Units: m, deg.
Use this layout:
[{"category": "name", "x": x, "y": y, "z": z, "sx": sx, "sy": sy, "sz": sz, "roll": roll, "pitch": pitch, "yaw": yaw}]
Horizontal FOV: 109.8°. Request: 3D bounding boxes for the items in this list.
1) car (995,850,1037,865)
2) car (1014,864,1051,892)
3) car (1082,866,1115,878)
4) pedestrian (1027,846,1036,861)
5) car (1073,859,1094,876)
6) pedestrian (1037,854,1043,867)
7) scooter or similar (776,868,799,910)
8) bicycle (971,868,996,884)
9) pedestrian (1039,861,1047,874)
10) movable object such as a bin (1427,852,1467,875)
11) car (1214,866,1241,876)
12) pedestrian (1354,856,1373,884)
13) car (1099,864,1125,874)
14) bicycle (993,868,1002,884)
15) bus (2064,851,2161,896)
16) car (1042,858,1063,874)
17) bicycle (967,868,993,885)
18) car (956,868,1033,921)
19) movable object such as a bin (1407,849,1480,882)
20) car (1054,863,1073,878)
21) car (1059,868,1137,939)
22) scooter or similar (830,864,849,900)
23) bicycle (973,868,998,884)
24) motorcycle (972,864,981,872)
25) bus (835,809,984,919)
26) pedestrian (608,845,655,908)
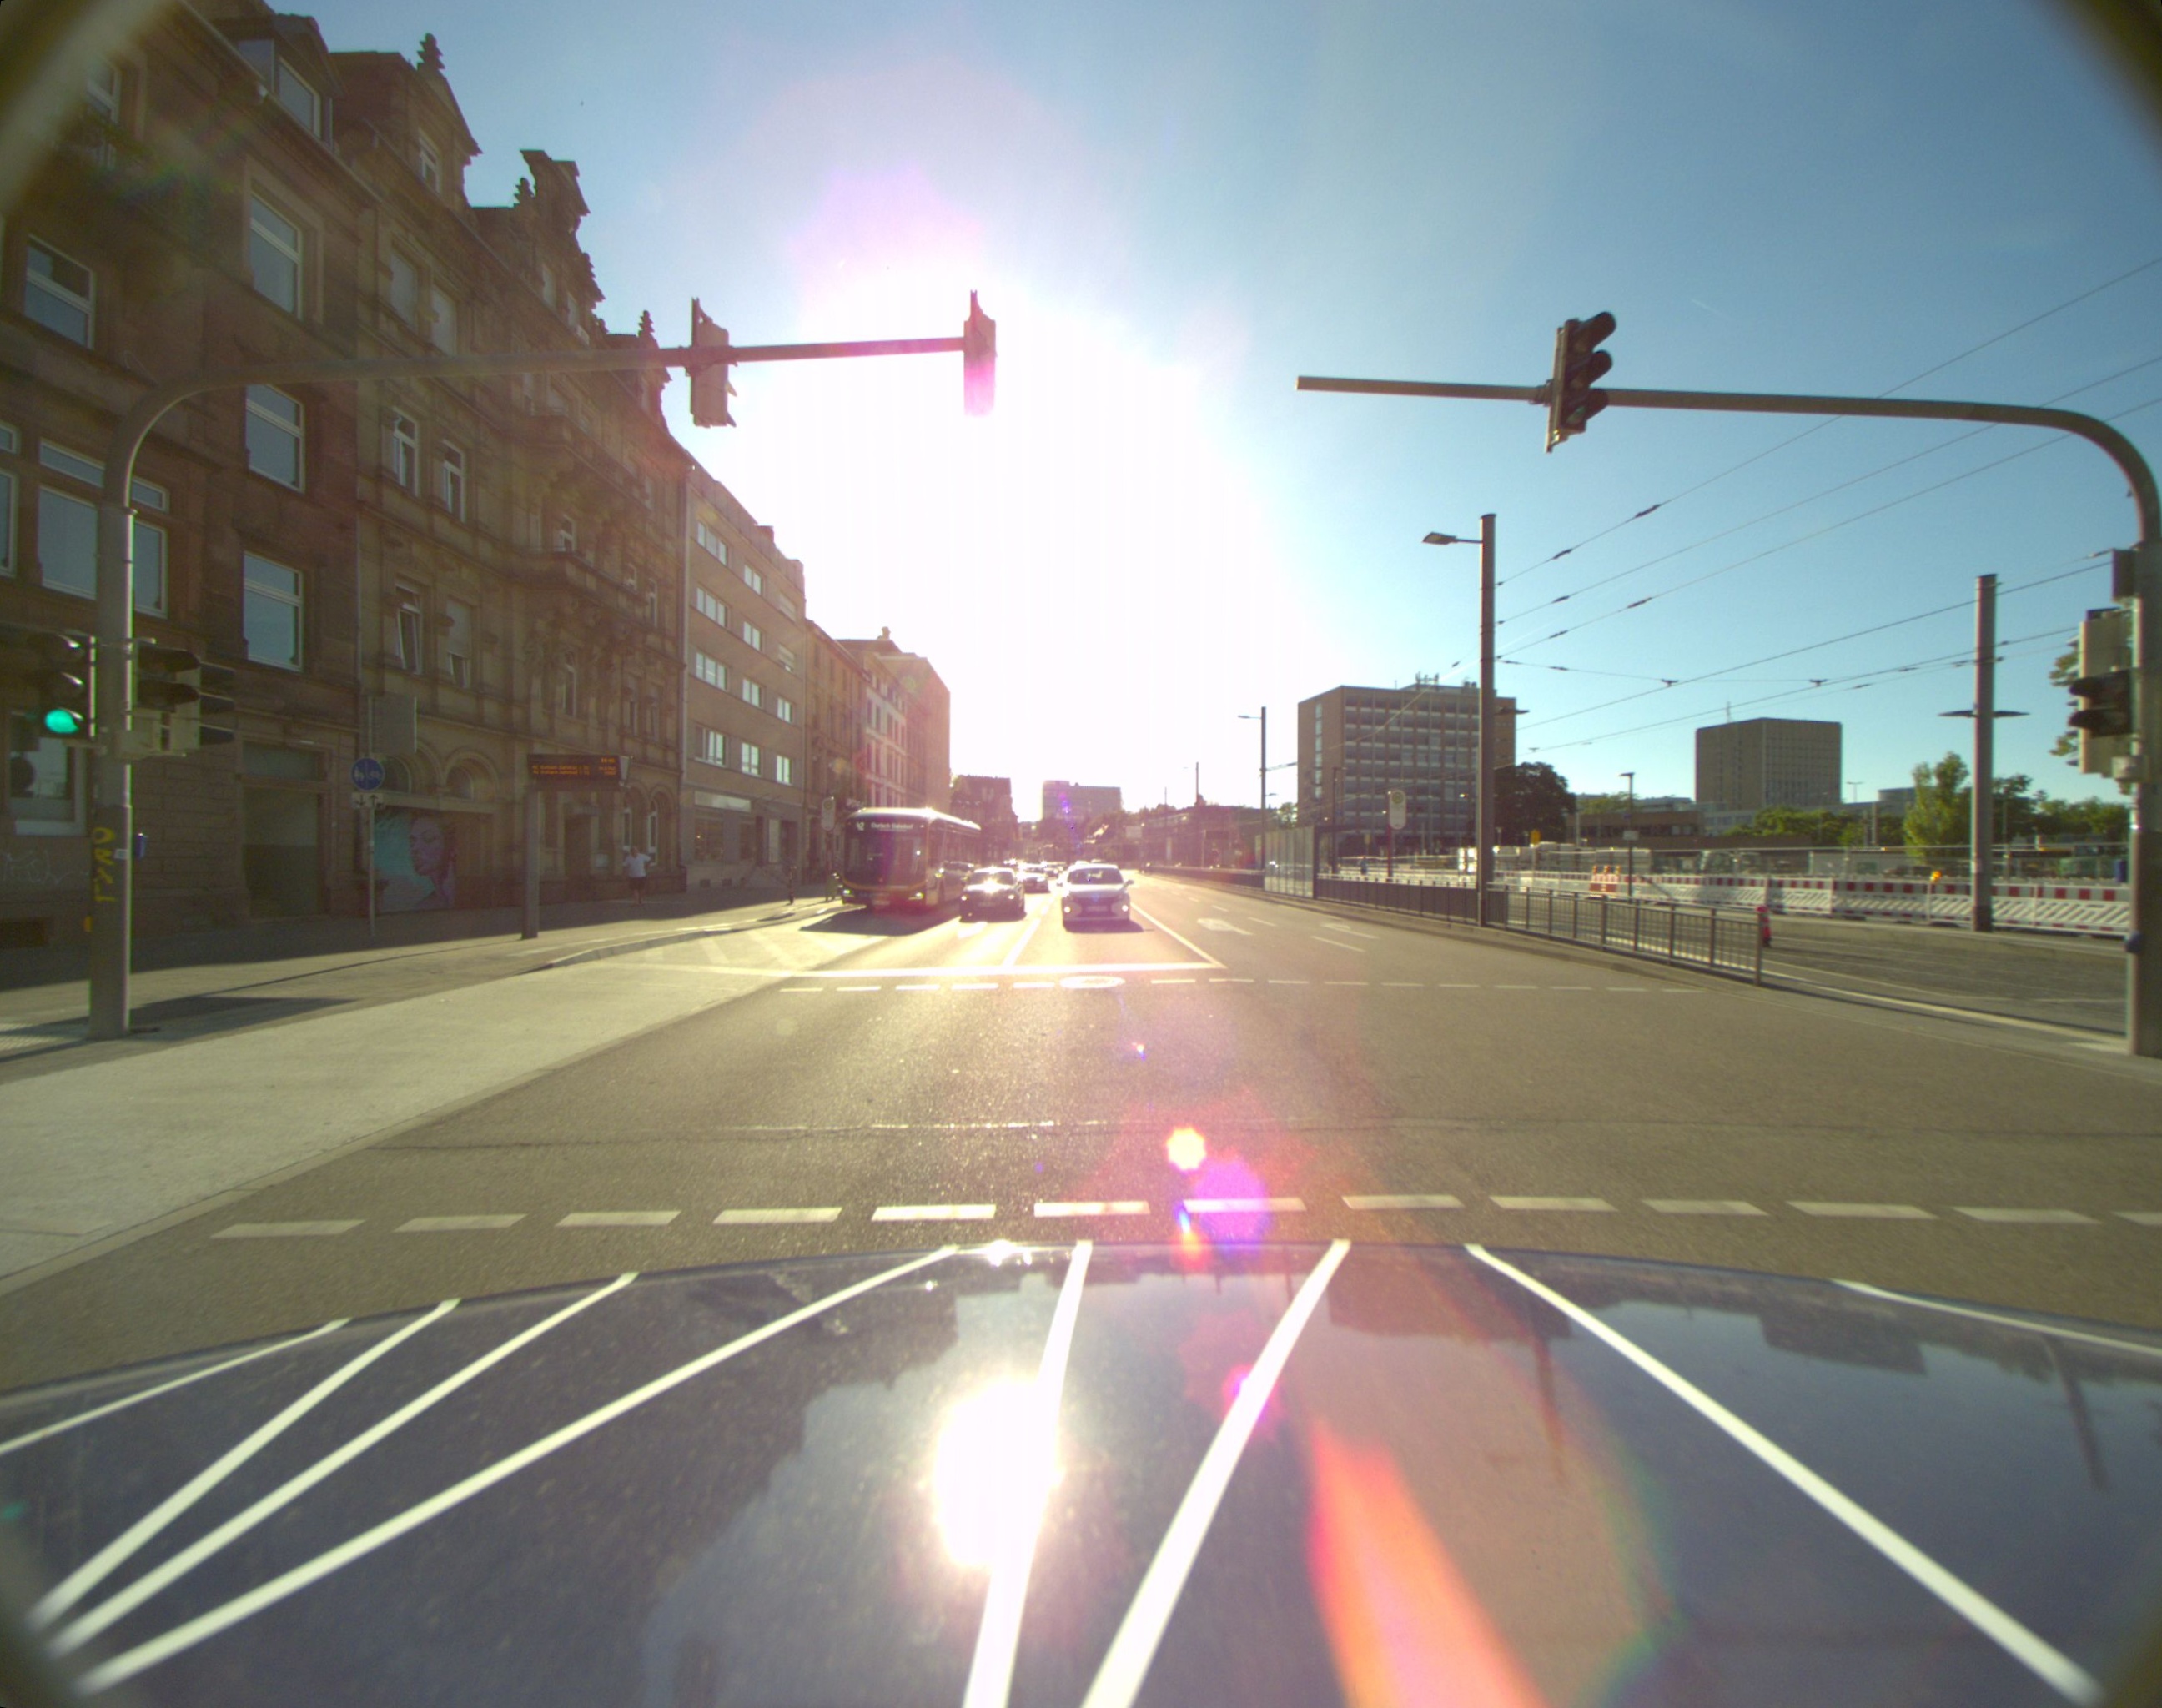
[{"category": "car", "x": -7.104, "y": 0.391, "z": 83.501, "sx": 4.260, "sy": 1.561, "sz": 1.955, "roll": 0, "pitch": -1, "yaw": -44}, {"category": "car", "x": -2.570, "y": 1.219, "z": 40.343, "sx": 1.826, "sy": 1.380, "sz": 4.456, "roll": -1, "pitch": -1, "yaw": -3}, {"category": "car", "x": 2.637, "y": 2.734, "z": 114.993, "sx": 4.625, "sy": 1.678, "sz": 1.995, "roll": 1, "pitch": 0, "yaw": -29}, {"category": "pedestrian", "x": -6.079, "y": -0.086, "z": 92.940, "sx": 0.755, "sy": 1.855, "sz": 0.696, "roll": 1, "pitch": 0, "yaw": -42}, {"category": "car", "x": 0.254, "y": 1.346, "z": 77.266, "sx": 1.999, "sy": 1.666, "sz": 4.283, "roll": 1, "pitch": 0, "yaw": -2}, {"category": "pedestrian", "x": -5.402, "y": 0.824, "z": 99.721, "sx": 0.698, "sy": 1.717, "sz": 0.752, "roll": 1, "pitch": 0, "yaw": -16}, {"category": "scooter or similar", "x": -9.245, "y": 1.074, "z": 23.940, "sx": 0.433, "sy": 1.242, "sz": 1.293, "roll": 2, "pitch": 1, "yaw": -12}, {"category": "bicycle", "x": -7.122, "y": 1.628, "z": 55.449, "sx": 1.769, "sy": 1.180, "sz": 0.470, "roll": 0, "pitch": -1, "yaw": -1}, {"category": "pedestrian", "x": -5.109, "y": 1.787, "z": 102.885, "sx": 0.796, "sy": 1.717, "sz": 0.868, "roll": 1, "pitch": 0, "yaw": -32}, {"category": "movable object such as a bin", "x": 28.321, "y": 0.785, "z": 58.834, "sx": 1.176, "sy": 1.577, "sz": 3.867, "roll": 2, "pitch": -3, "yaw": -1}, {"category": "car", "x": 26.423, "y": 3.093, "z": 136.887, "sx": 4.698, "sy": 1.673, "sz": 2.004, "roll": 1, "pitch": -3, "yaw": 15}, {"category": "pedestrian", "x": 18.559, "y": 1.073, "z": 49.996, "sx": 0.804, "sy": 1.757, "sz": 1.180, "roll": 2, "pitch": -3, "yaw": 0}, {"category": "car", "x": 5.969, "y": 2.867, "z": 147.004, "sx": 4.697, "sy": 1.673, "sz": 2.004, "roll": 1, "pitch": -3, "yaw": 16}, {"category": "bicycle", "x": -5.988, "y": 1.606, "z": 54.792, "sx": 0.470, "sy": 1.140, "sz": 1.771, "roll": 0, "pitch": -1, "yaw": 0}, {"category": "bus", "x": 80.621, "y": 1.378, "z": 54.055, "sx": 12.625, "sy": 3.173, "sz": 3.260, "roll": -2, "pitch": -4, "yaw": 43}, {"category": "car", "x": -2.543, "y": 1.066, "z": 69.471, "sx": 1.783, "sy": 1.455, "sz": 3.915, "roll": 1, "pitch": 0, "yaw": 0}, {"category": "bicycle", "x": -7.034, "y": 1.558, "z": 52.928, "sx": 1.769, "sy": 1.180, "sz": 0.470, "roll": 0, "pitch": -1, "yaw": -1}, {"category": "car", "x": -2.539, "y": 1.163, "z": 23.140, "sx": 1.694, "sy": 1.380, "sz": 3.832, "roll": -1, "pitch": 0, "yaw": 3}, {"category": "movable object such as a bin", "x": 30.138, "y": 1.002, "z": 63.318, "sx": 2.637, "sy": 2.509, "sz": 5.164, "roll": 2, "pitch": -3, "yaw": -18}, {"category": "car", "x": -2.133, "y": 1.978, "z": 90.667, "sx": 1.999, "sy": 1.673, "sz": 4.001, "roll": 2, "pitch": -3, "yaw": -4}, {"category": "car", "x": 0.326, "y": 1.175, "z": 19.329, "sx": 1.721, "sy": 1.483, "sz": 3.869, "roll": 2, "pitch": 0, "yaw": -2}, {"category": "scooter or similar", "x": -8.708, "y": 0.998, "z": 27.419, "sx": 0.433, "sy": 1.242, "sz": 1.293, "roll": 2, "pitch": 1, "yaw": -10}, {"category": "bicycle", "x": -7.139, "y": 1.644, "z": 56.955, "sx": 1.769, "sy": 1.171, "sz": 0.470, "roll": 0, "pitch": -1, "yaw": -1}, {"category": "motorcycle", "x": -15.563, "y": 2.089, "z": 113.331, "sx": 1.041, "sy": 1.067, "sz": 2.279, "roll": 2, "pitch": -1, "yaw": -15}, {"category": "bus", "x": -5.820, "y": 0.375, "z": 28.478, "sx": 2.722, "sy": 3.162, "sz": 12.541, "roll": 1, "pitch": -1, "yaw": 0}, {"category": "pedestrian", "x": -13.202, "y": 0.665, "z": 22.323, "sx": 0.852, "sy": 1.821, "sz": 0.781, "roll": 0, "pitch": -3, "yaw": 26}]
